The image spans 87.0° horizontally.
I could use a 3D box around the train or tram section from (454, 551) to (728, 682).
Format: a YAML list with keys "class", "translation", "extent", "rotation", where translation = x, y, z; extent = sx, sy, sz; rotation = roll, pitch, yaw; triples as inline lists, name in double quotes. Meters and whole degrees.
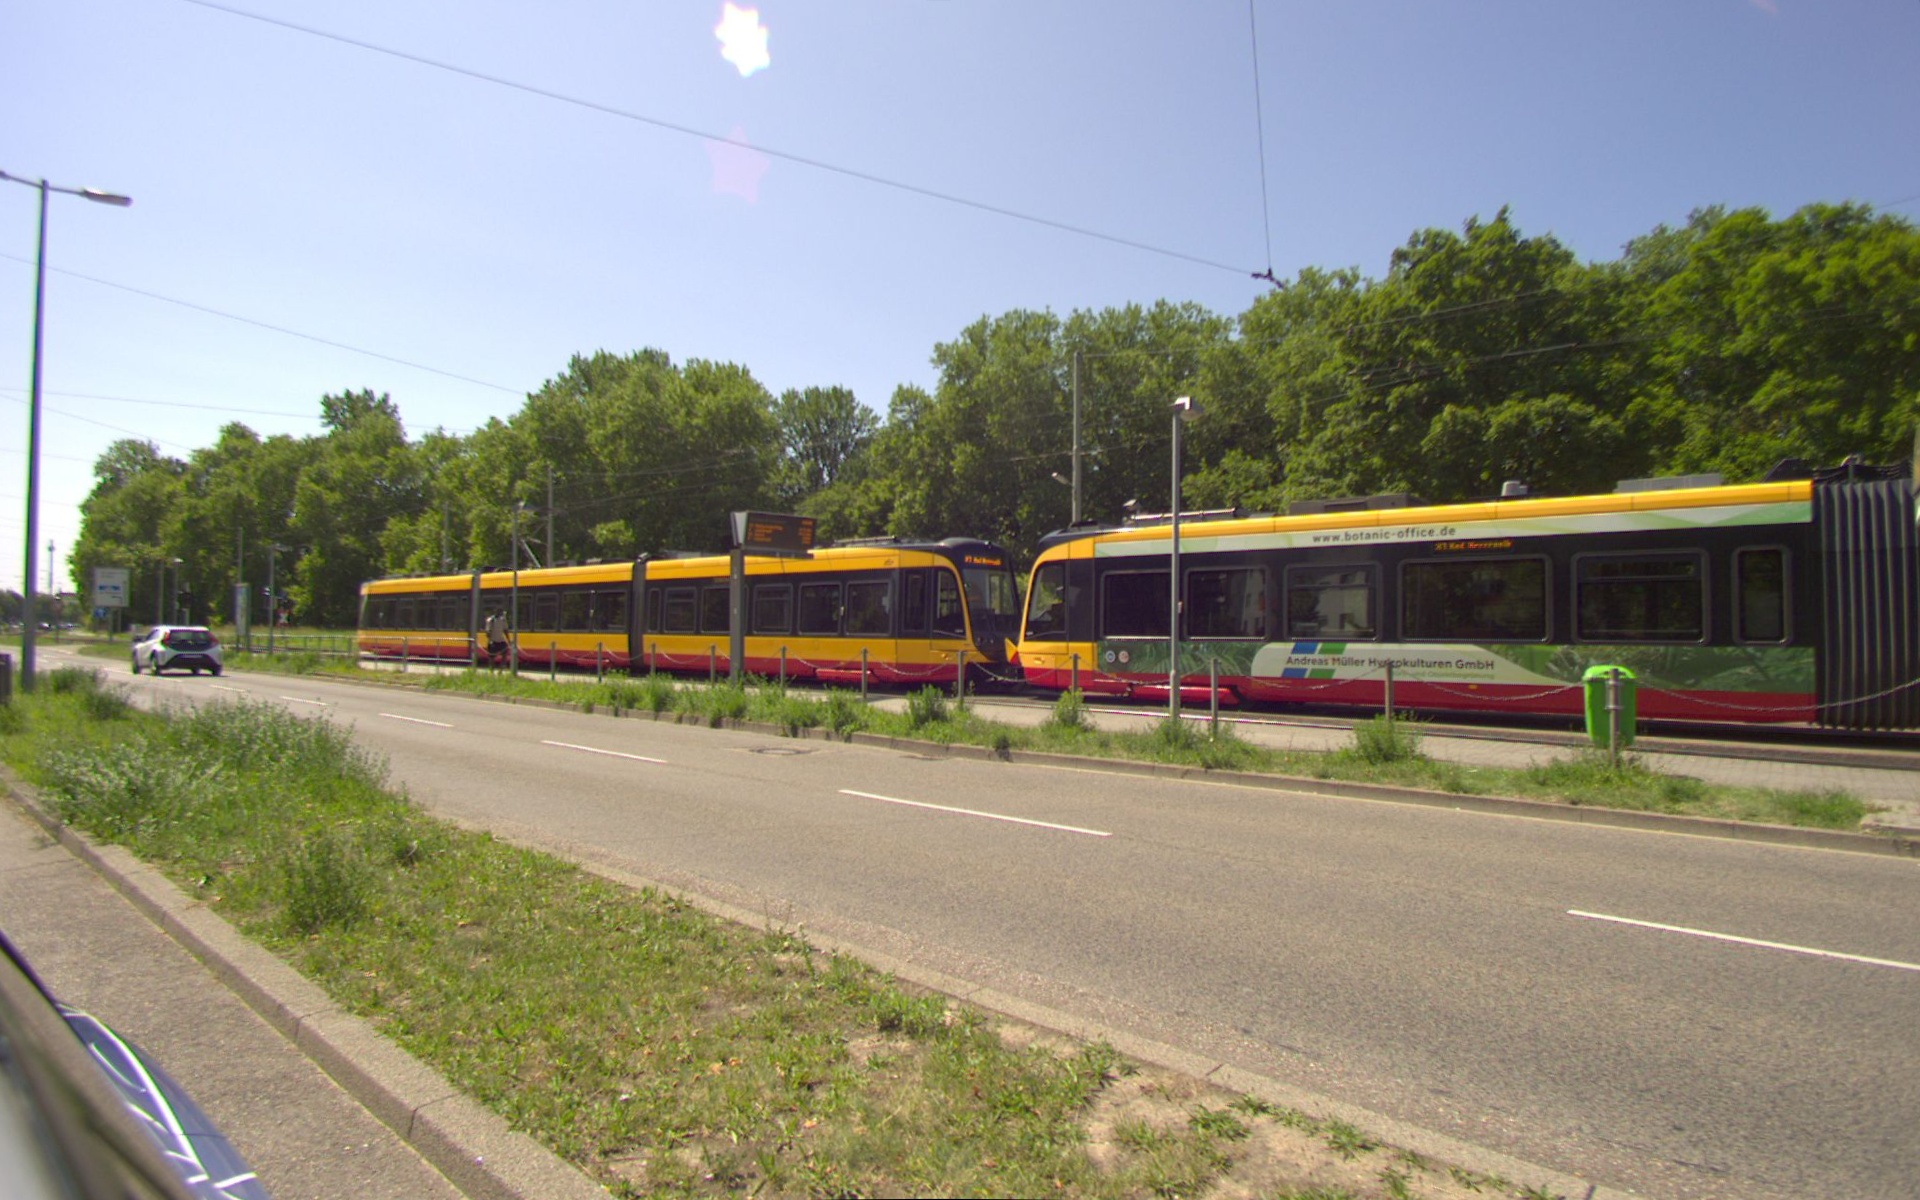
- class: "train or tram section"
  translation: [-12.966, 0.593, 34.457]
  extent: [12.588, 3.770, 3.012]
  rotation: [-2, -1, 41]

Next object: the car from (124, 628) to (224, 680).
- class: "car"
  translation: [-24.528, 1.637, 31.546]
  extent: [3.717, 1.516, 1.751]
  rotation: [-1, -2, 41]

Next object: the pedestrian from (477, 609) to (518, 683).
- class: "pedestrian"
  translation: [-11.554, 1.137, 25.284]
  extent: [0.775, 1.805, 0.625]
  rotation: [-2, -1, 39]

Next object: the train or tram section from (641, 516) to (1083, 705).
- class: "train or tram section"
  translation: [-3.215, 0.338, 25.908]
  extent: [13.255, 3.795, 3.012]
  rotation: [-2, -1, 41]

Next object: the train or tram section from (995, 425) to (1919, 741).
- class: "train or tram section"
  translation: [7.036, -0.075, 16.958]
  extent: [13.882, 3.652, 3.014]
  rotation: [-2, -1, 39]

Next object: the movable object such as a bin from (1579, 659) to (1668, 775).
- class: "movable object such as a bin"
  translation: [6.072, 1.048, 9.267]
  extent: [0.644, 0.985, 0.477]
  rotation: [-1, -2, 37]

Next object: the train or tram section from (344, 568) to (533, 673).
- class: "train or tram section"
  translation: [-22.057, 0.869, 42.307]
  extent: [11.533, 3.884, 2.919]
  rotation: [-2, -1, 41]

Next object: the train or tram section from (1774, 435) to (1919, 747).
- class: "train or tram section"
  translation: [16.867, -0.224, 10.694]
  extent: [12.388, 3.652, 3.026]
  rotation: [-1, -1, 27]
